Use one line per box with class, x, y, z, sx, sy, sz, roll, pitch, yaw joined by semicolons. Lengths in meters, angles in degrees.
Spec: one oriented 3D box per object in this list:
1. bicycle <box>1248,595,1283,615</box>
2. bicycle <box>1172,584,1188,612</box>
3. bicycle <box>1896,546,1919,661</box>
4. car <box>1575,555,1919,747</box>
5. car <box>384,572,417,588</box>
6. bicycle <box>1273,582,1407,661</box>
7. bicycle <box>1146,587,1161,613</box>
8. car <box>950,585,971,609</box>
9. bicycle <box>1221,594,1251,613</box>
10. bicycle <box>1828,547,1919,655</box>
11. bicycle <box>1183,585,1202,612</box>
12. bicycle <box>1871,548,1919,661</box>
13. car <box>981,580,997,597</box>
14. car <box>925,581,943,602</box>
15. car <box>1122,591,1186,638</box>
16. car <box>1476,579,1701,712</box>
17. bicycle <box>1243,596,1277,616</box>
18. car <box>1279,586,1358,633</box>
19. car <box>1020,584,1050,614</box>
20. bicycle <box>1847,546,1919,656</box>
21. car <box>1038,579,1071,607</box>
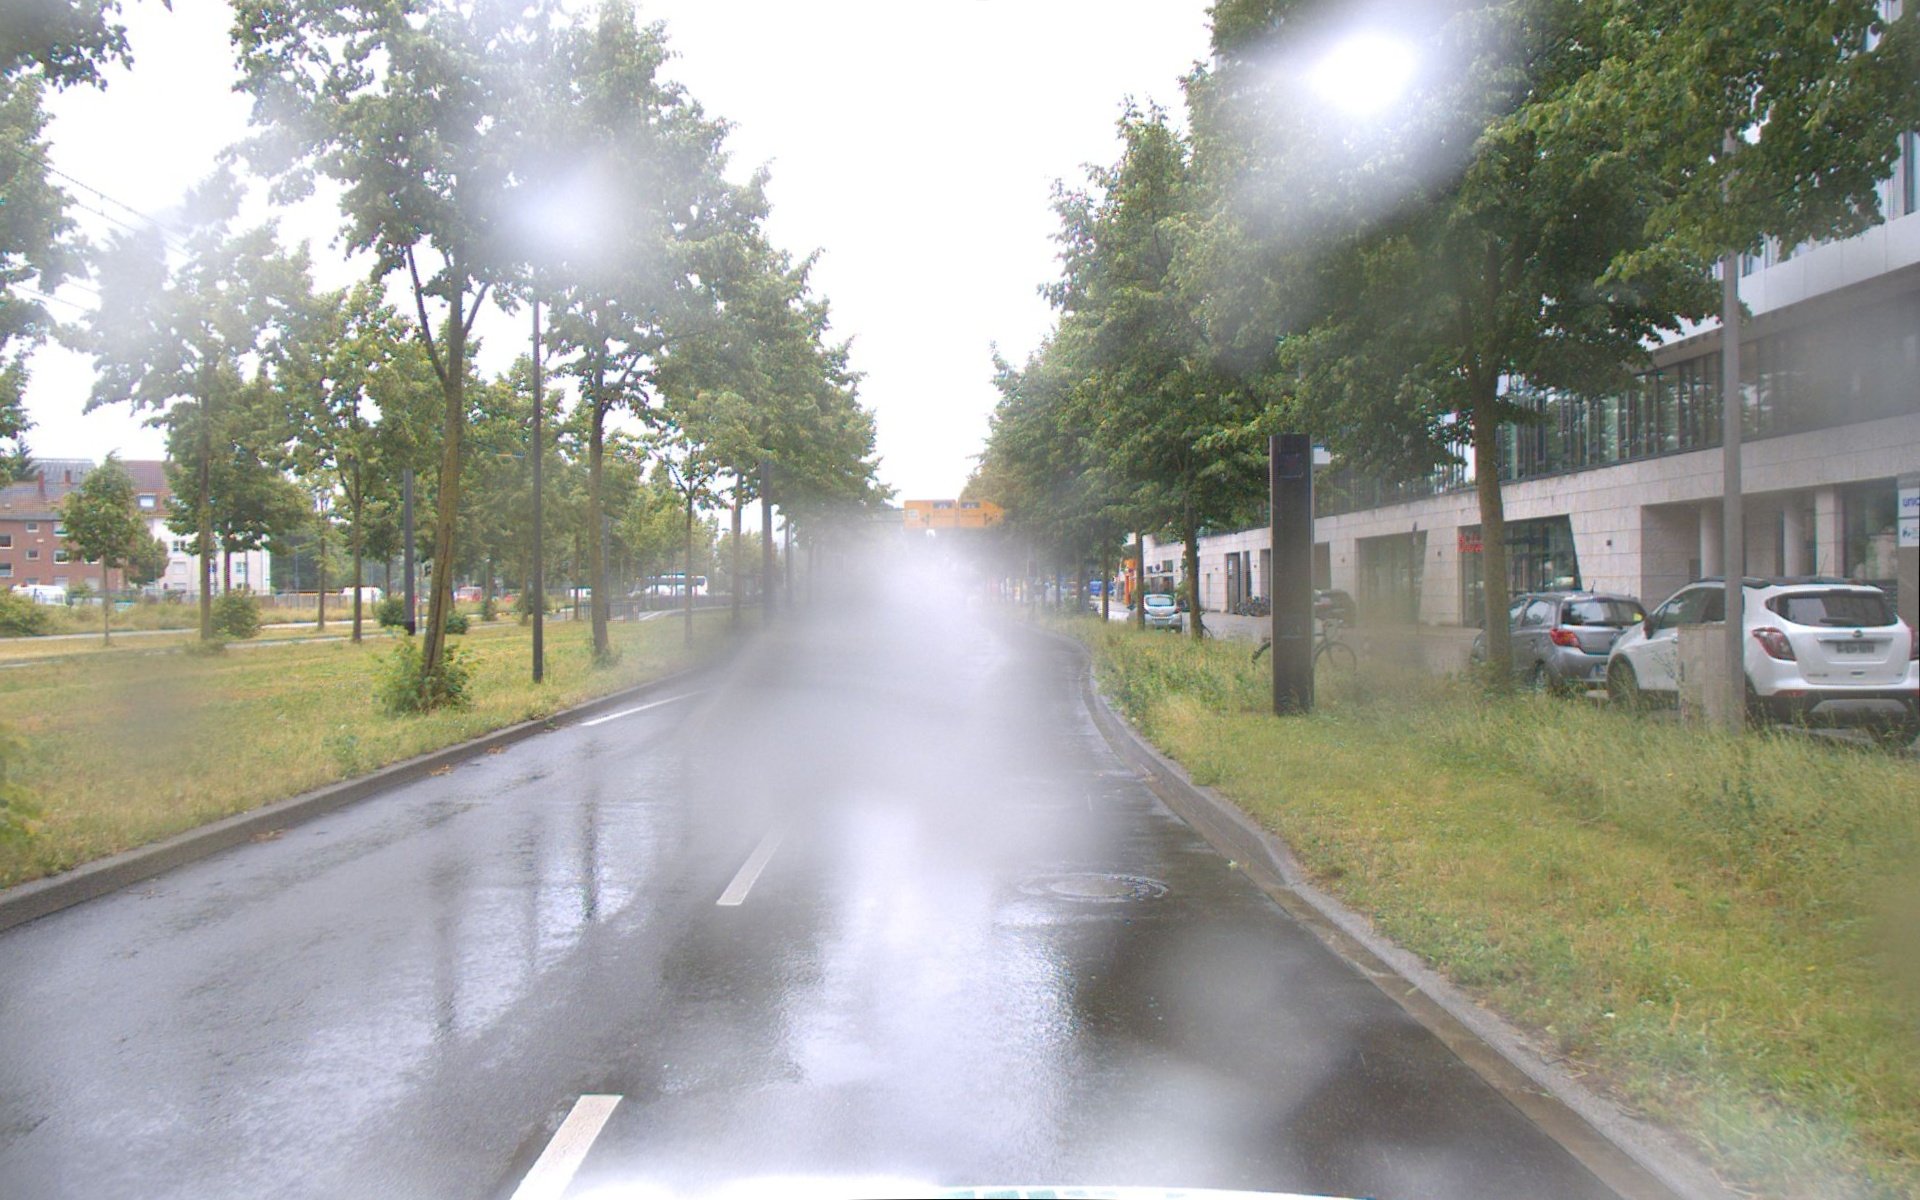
bicycle;16.344;0.287;88.498;1.769;1.046;0.401;0;0;1
bicycle;15.081;-0.137;113.415;0.631;1.752;3.120;0;2;-2
bicycle;16.990;0.039;27.300;2.624;1.893;0.707;-1;0;3
car;8.494;0.413;17.741;1.953;1.698;4.724;0;2;-1
car;-65.703;-2.385;194.204;3.487;1.769;1.693;-2;3;-25
bicycle;5.977;0.331;26.042;1.994;1.217;0.491;0;0;-2
bicycle;14.415;-0.015;123.389;0.631;1.752;3.120;0;2;-2
car;0.012;-0.305;154.453;1.901;2.048;4.000;0;2;-1
bicycle;15.952;0.207;95.740;1.659;1.046;0.423;0;0;1
bicycle;17.057;0.007;29.621;2.624;1.893;0.707;-1;0;3
bicycle;15.866;-0.115;112.822;0.756;1.752;3.120;0;2;-2
bicycle;16.991;0.062;28.083;2.624;1.893;0.707;-1;0;3
car;3.643;-1.432;206.838;1.953;2.048;4.001;0;2;0
car;-2.721;-0.874;174.687;1.850;2.048;4.000;0;2;-1
car;7.400;0.530;63.500;1.843;1.532;4.724;0;2;-1
car;8.330;0.545;22.264;1.592;1.516;3.656;0;2;-1
bicycle;16.170;0.334;89.168;1.769;1.046;0.541;0;0;1
car;14.019;0.324;64.876;1.953;1.527;5.035;-5;1;1
car;5.954;-0.067;131.146;2.078;2.314;4.563;0;0;-1
bicycle;17.002;0.012;28.875;2.624;1.893;0.707;-1;0;3
car;6.402;-0.498;112.624;1.867;1.822;4.687;0;0;-1
